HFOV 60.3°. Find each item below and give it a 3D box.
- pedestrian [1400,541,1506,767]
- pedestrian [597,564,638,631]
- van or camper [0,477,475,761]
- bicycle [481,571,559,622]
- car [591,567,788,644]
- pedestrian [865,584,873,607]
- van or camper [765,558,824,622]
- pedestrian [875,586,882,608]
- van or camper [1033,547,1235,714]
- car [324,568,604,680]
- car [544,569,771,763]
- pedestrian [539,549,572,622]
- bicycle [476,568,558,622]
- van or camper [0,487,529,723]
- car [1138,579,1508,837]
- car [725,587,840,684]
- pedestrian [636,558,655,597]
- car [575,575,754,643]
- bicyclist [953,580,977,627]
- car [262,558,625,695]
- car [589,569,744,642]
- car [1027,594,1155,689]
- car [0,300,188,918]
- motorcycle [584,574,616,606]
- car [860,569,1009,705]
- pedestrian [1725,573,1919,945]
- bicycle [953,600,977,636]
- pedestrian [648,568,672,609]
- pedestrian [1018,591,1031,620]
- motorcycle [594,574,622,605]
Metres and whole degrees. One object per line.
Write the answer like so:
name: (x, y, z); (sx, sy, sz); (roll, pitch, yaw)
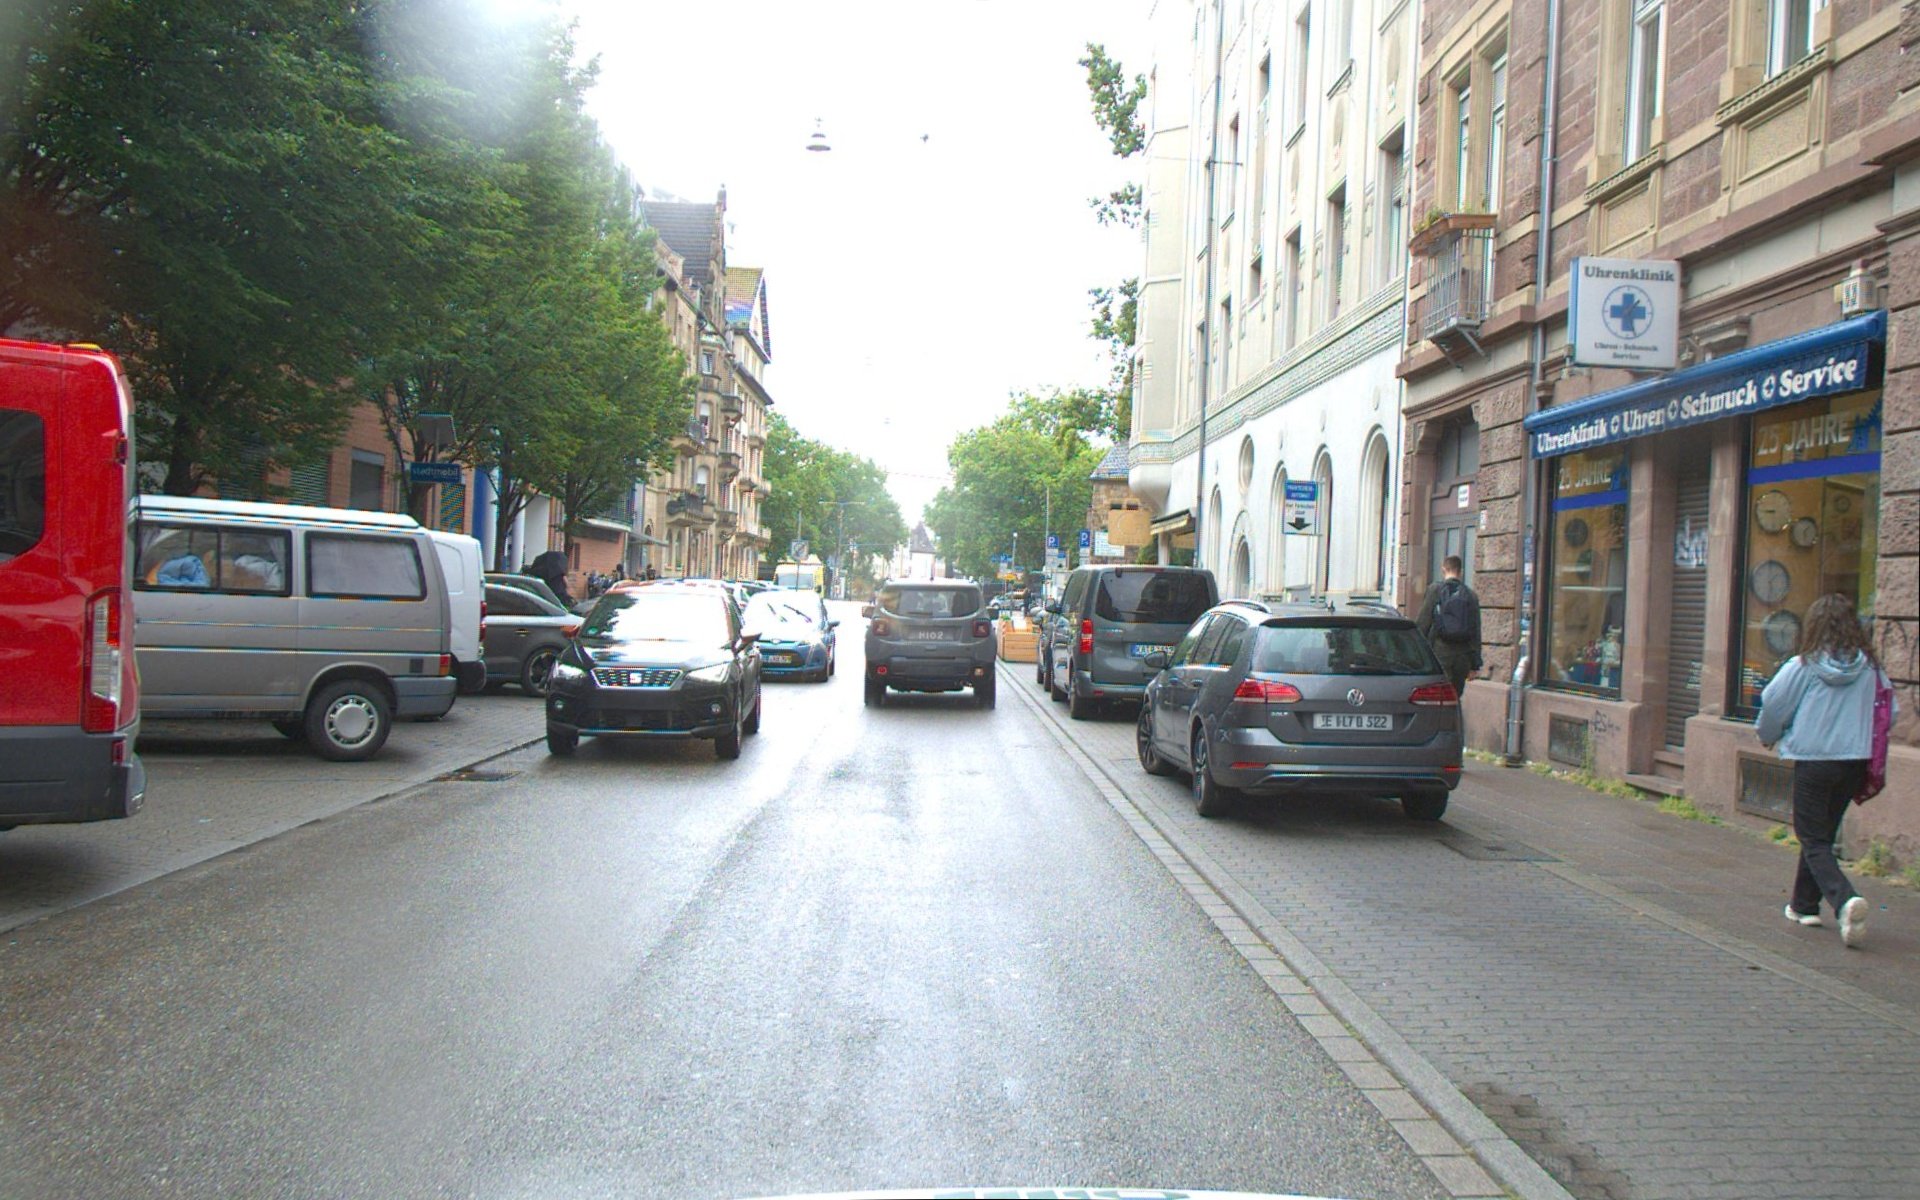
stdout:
pedestrian: (4.444, 0.486, 14.951); (0.665, 1.968, 0.810); (2, -2, 0)
pedestrian: (-9.546, -0.074, 46.099); (0.808, 1.782, 0.757); (4, 0, 5)
van or camper: (-6.339, 0.159, 13.110); (4.395, 2.009, 1.760); (3, 0, -35)
bicycle: (-12.012, -0.091, 45.160); (1.859, 1.172, 0.553); (6, 0, -4)
car: (-7.070, 0.148, 43.381); (4.471, 1.566, 2.310); (6, -3, -34)
pedestrian: (-6.697, -0.336, 121.783); (0.458, 1.613, 0.752); (2, 0, -2)
van or camper: (-7.354, -0.375, 74.280); (2.078, 2.575, 6.872); (-2, -2, -2)
pedestrian: (-6.045, -0.206, 122.899); (0.458, 1.613, 0.752); (2, 0, -2)
van or camper: (2.145, 0.339, 21.804); (1.980, 1.924, 5.053); (1, 0, -2)
car: (-7.000, 0.328, 23.508); (3.453, 1.460, 1.625); (1, 0, -44)
car: (-2.779, 0.553, 15.974); (1.636, 1.586, 4.000); (2, 0, -4)
pedestrian: (-9.725, -0.344, 39.759); (0.599, 1.737, 0.433); (2, -2, -1)
bicycle: (-11.474, -0.137, 42.862); (1.859, 1.172, 0.553); (6, 0, -4)
van or camper: (-7.004, 0.089, 16.448); (4.659, 1.986, 2.301); (4, 1, -43)
car: (2.497, 0.673, 12.397); (1.803, 1.572, 4.002); (2, 0, -1)
car: (-2.944, 0.552, 28.166); (1.636, 1.491, 4.002); (2, 0, -2)
pedestrian: (-14.358, -1.031, 75.510); (0.652, 1.788, 0.790); (1, 0, -25)
car: (-6.700, 0.212, 37.628); (3.674, 1.477, 1.664); (1, 0, -37)
bicyclist: (0.148, 0.104, 51.300); (0.690, 1.428, 1.171); (1, 0, -1)
car: (-6.432, 0.364, 20.830); (3.944, 1.472, 1.741); (4, 0, -42)
car: (-7.110, 0.136, 40.169); (3.346, 1.683, 1.614); (1, 0, -34)
car: (2.081, 0.628, 27.141); (1.675, 1.425, 3.704); (1, 0, -2)
car: (-6.349, -0.076, 6.880); (5.494, 2.585, 2.208); (3, 0, -29)
motorcycle: (-14.285, -0.411, 65.758); (0.738, 1.194, 2.115); (4, 0, -1)
car: (-0.412, 0.467, 23.408); (1.860, 1.700, 4.504); (2, 0, -2)
pedestrian: (4.123, 0.706, 7.748); (0.665, 1.642, 0.810); (1, 0, -1)
bicycle: (0.134, 0.558, 51.300); (0.690, 1.072, 1.812); (1, 0, -1)
pedestrian: (-11.982, -0.452, 66.034); (0.694, 1.578, 0.608); (4, 0, 5)
pedestrian: (3.939, 0.305, 100.822); (0.677, 1.741, 0.684); (1, 0, -1)
motorcycle: (-14.443, -0.453, 67.906); (0.739, 1.194, 2.114); (4, 0, -5)
